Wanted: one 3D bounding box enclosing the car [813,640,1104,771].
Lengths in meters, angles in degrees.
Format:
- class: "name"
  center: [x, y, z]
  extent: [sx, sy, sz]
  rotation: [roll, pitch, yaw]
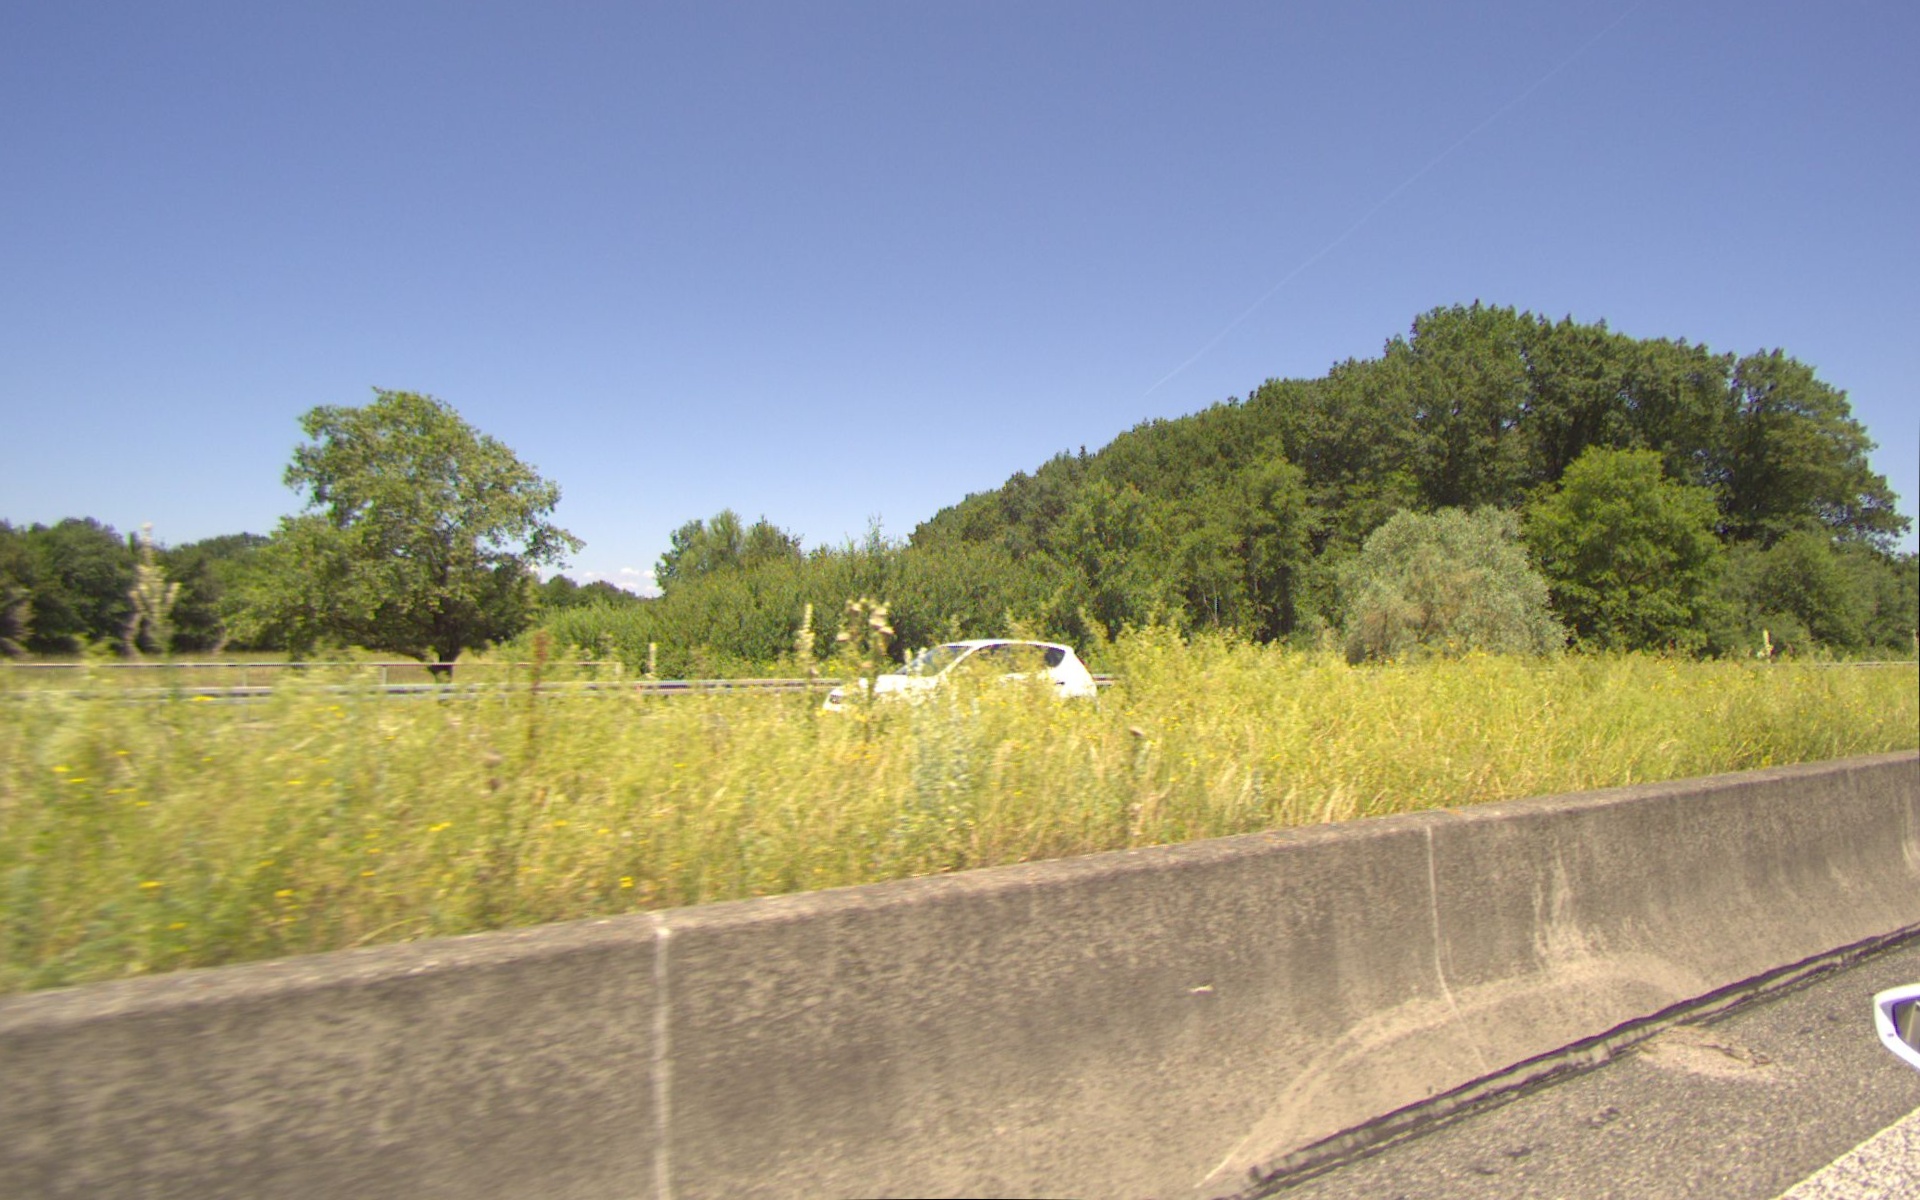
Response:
- class: "car"
  center: [0.028, 1.437, 14.612]
  extent: [3.953, 1.666, 1.641]
  rotation: [2, -2, -30]
